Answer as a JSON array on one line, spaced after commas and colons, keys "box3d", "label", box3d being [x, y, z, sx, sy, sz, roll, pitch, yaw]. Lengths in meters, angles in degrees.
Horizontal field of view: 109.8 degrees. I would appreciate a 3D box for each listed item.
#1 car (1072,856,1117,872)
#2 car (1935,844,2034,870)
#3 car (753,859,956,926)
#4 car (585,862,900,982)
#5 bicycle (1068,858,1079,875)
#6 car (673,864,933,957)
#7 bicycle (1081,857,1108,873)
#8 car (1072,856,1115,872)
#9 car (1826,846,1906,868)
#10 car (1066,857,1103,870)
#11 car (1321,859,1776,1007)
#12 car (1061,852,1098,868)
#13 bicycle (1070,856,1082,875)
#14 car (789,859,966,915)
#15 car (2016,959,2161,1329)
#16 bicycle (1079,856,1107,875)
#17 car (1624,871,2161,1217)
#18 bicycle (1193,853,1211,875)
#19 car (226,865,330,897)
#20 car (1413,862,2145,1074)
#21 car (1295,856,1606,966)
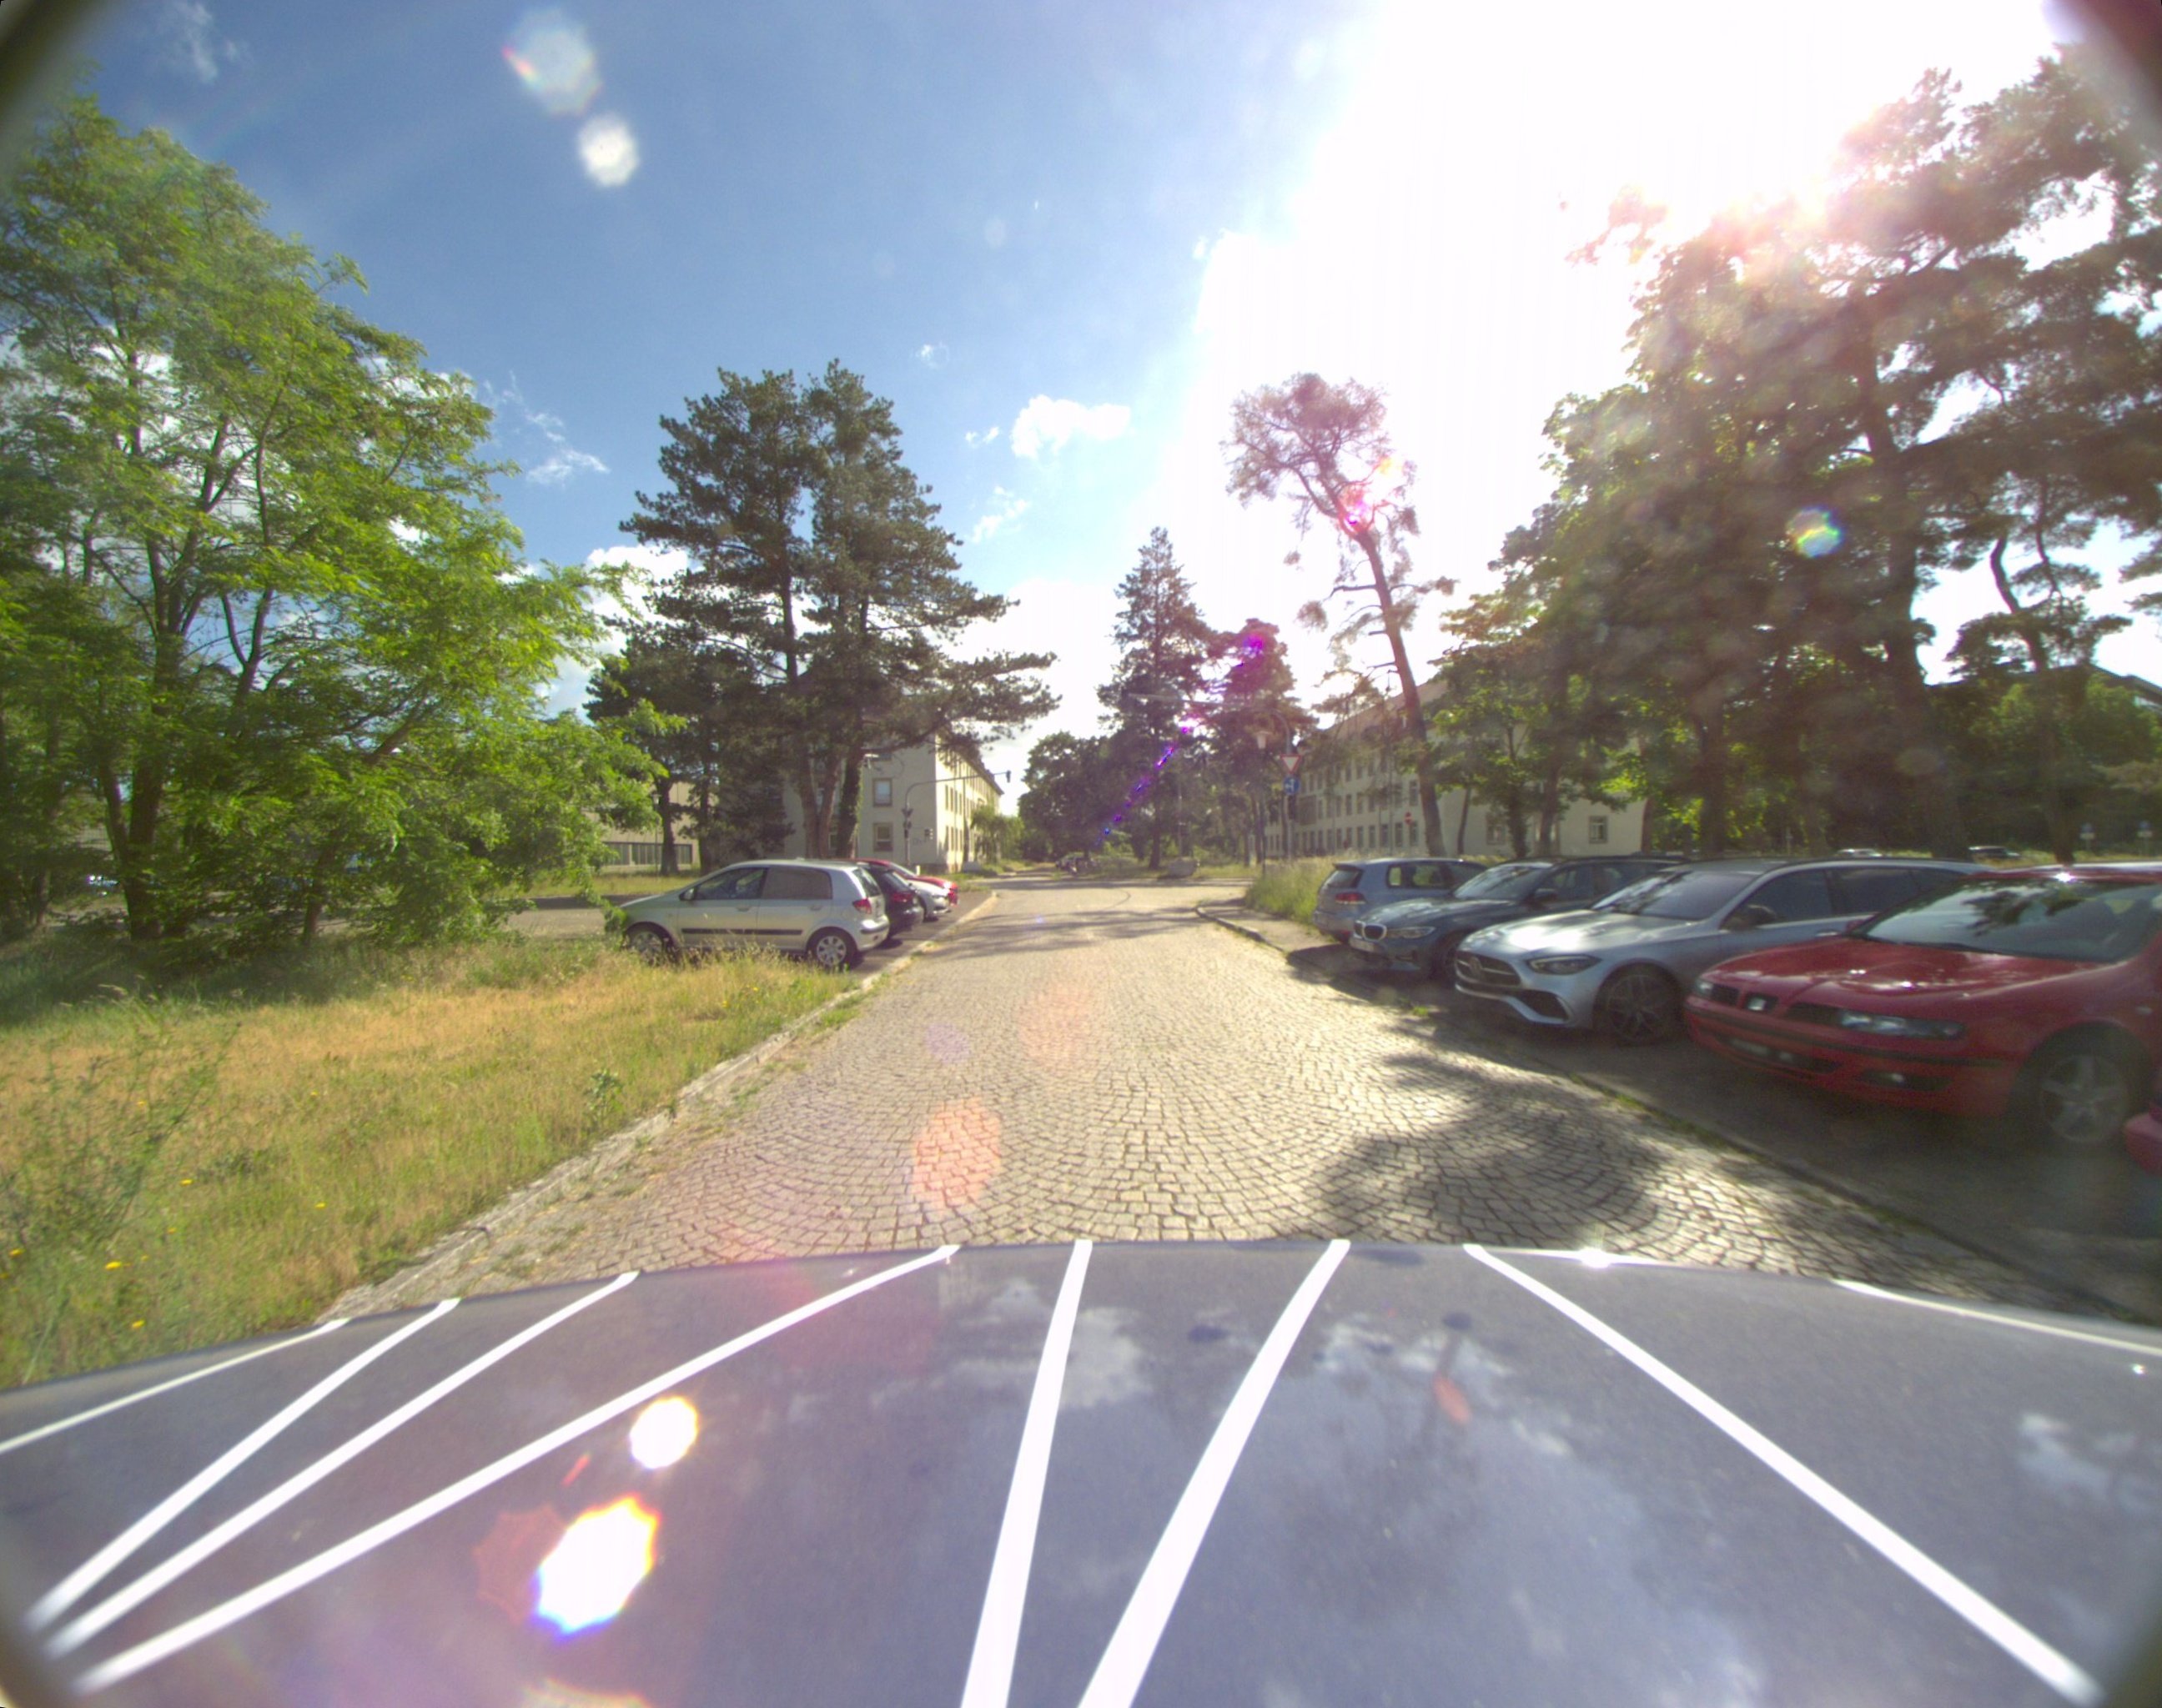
[{"box3d": [1.278, 0.941, 72.719, 4.045, 1.493, 1.816, 0, 1, -9], "label": "car"}, {"box3d": [57.257, 0.157, 48.192, 4.056, 1.620, 1.840, 0, 0, 0], "label": "car"}, {"box3d": [-5.524, 0.932, 18.991, 4.526, 1.456, 1.838, 1, 1, -4], "label": "car"}, {"box3d": [-4.715, 0.921, 11.035, 3.751, 1.468, 1.751, 2, 0, -3], "label": "car"}, {"box3d": [-0.618, 0.943, 59.664, 0.621, 1.276, 2.114, -3, 1, -6], "label": "bicycle"}, {"box3d": [-4.867, 0.968, 13.776, 4.015, 1.432, 1.843, 2, 0, -3], "label": "car"}, {"box3d": [1.114, 0.918, 63.133, 2.115, 1.276, 0.621, -3, 1, -8], "label": "bicycle"}, {"box3d": [1.232, 0.956, 75.743, 4.045, 1.514, 1.816, 0, 1, -9], "label": "car"}, {"box3d": [57.609, 0.179, 55.799, 4.105, 1.571, 1.720, 0, 1, 0], "label": "car"}, {"box3d": [0.403, 1.078, 87.459, 4.045, 1.355, 1.816, 0, 1, -8], "label": "car"}, {"box3d": [5.670, 0.884, 9.588, 4.594, 1.443, 1.983, -2, 1, -5], "label": "car"}, {"box3d": [-0.203, 0.689, 93.058, 4.227, 1.903, 1.816, 0, 1, -11], "label": "car"}, {"box3d": [-0.401, 0.877, 57.494, 0.621, 1.342, 2.114, -3, 1, -6], "label": "bicycle"}, {"box3d": [-5.715, 0.925, 21.800, 4.549, 1.413, 1.894, 1, 1, -3], "label": "car"}, {"box3d": [5.613, 1.008, 2.212, 3.640, 1.227, 1.759, -2, 1, 0], "label": "car"}, {"box3d": [0.949, 0.898, 60.876, 2.114, 1.276, 0.621, -6, 1, -4], "label": "bicycle"}, {"box3d": [6.372, 0.890, 4.542, 4.877, 1.412, 1.938, -2, 1, -1], "label": "car"}, {"box3d": [7.686, 0.628, 48.500, 0.621, 1.276, 2.114, -4, 0, -3], "label": "bicycle"}, {"box3d": [-48.749, 1.613, 46.275, 1.860, 1.555, 4.058, -1, 3, 1], "label": "car"}, {"box3d": [5.877, 0.892, 6.873, 4.877, 1.413, 1.938, -2, 1, -1], "label": "car"}, {"box3d": [5.763, 0.838, 12.211, 4.038, 1.474, 1.948, -2, 0, -3], "label": "car"}]
